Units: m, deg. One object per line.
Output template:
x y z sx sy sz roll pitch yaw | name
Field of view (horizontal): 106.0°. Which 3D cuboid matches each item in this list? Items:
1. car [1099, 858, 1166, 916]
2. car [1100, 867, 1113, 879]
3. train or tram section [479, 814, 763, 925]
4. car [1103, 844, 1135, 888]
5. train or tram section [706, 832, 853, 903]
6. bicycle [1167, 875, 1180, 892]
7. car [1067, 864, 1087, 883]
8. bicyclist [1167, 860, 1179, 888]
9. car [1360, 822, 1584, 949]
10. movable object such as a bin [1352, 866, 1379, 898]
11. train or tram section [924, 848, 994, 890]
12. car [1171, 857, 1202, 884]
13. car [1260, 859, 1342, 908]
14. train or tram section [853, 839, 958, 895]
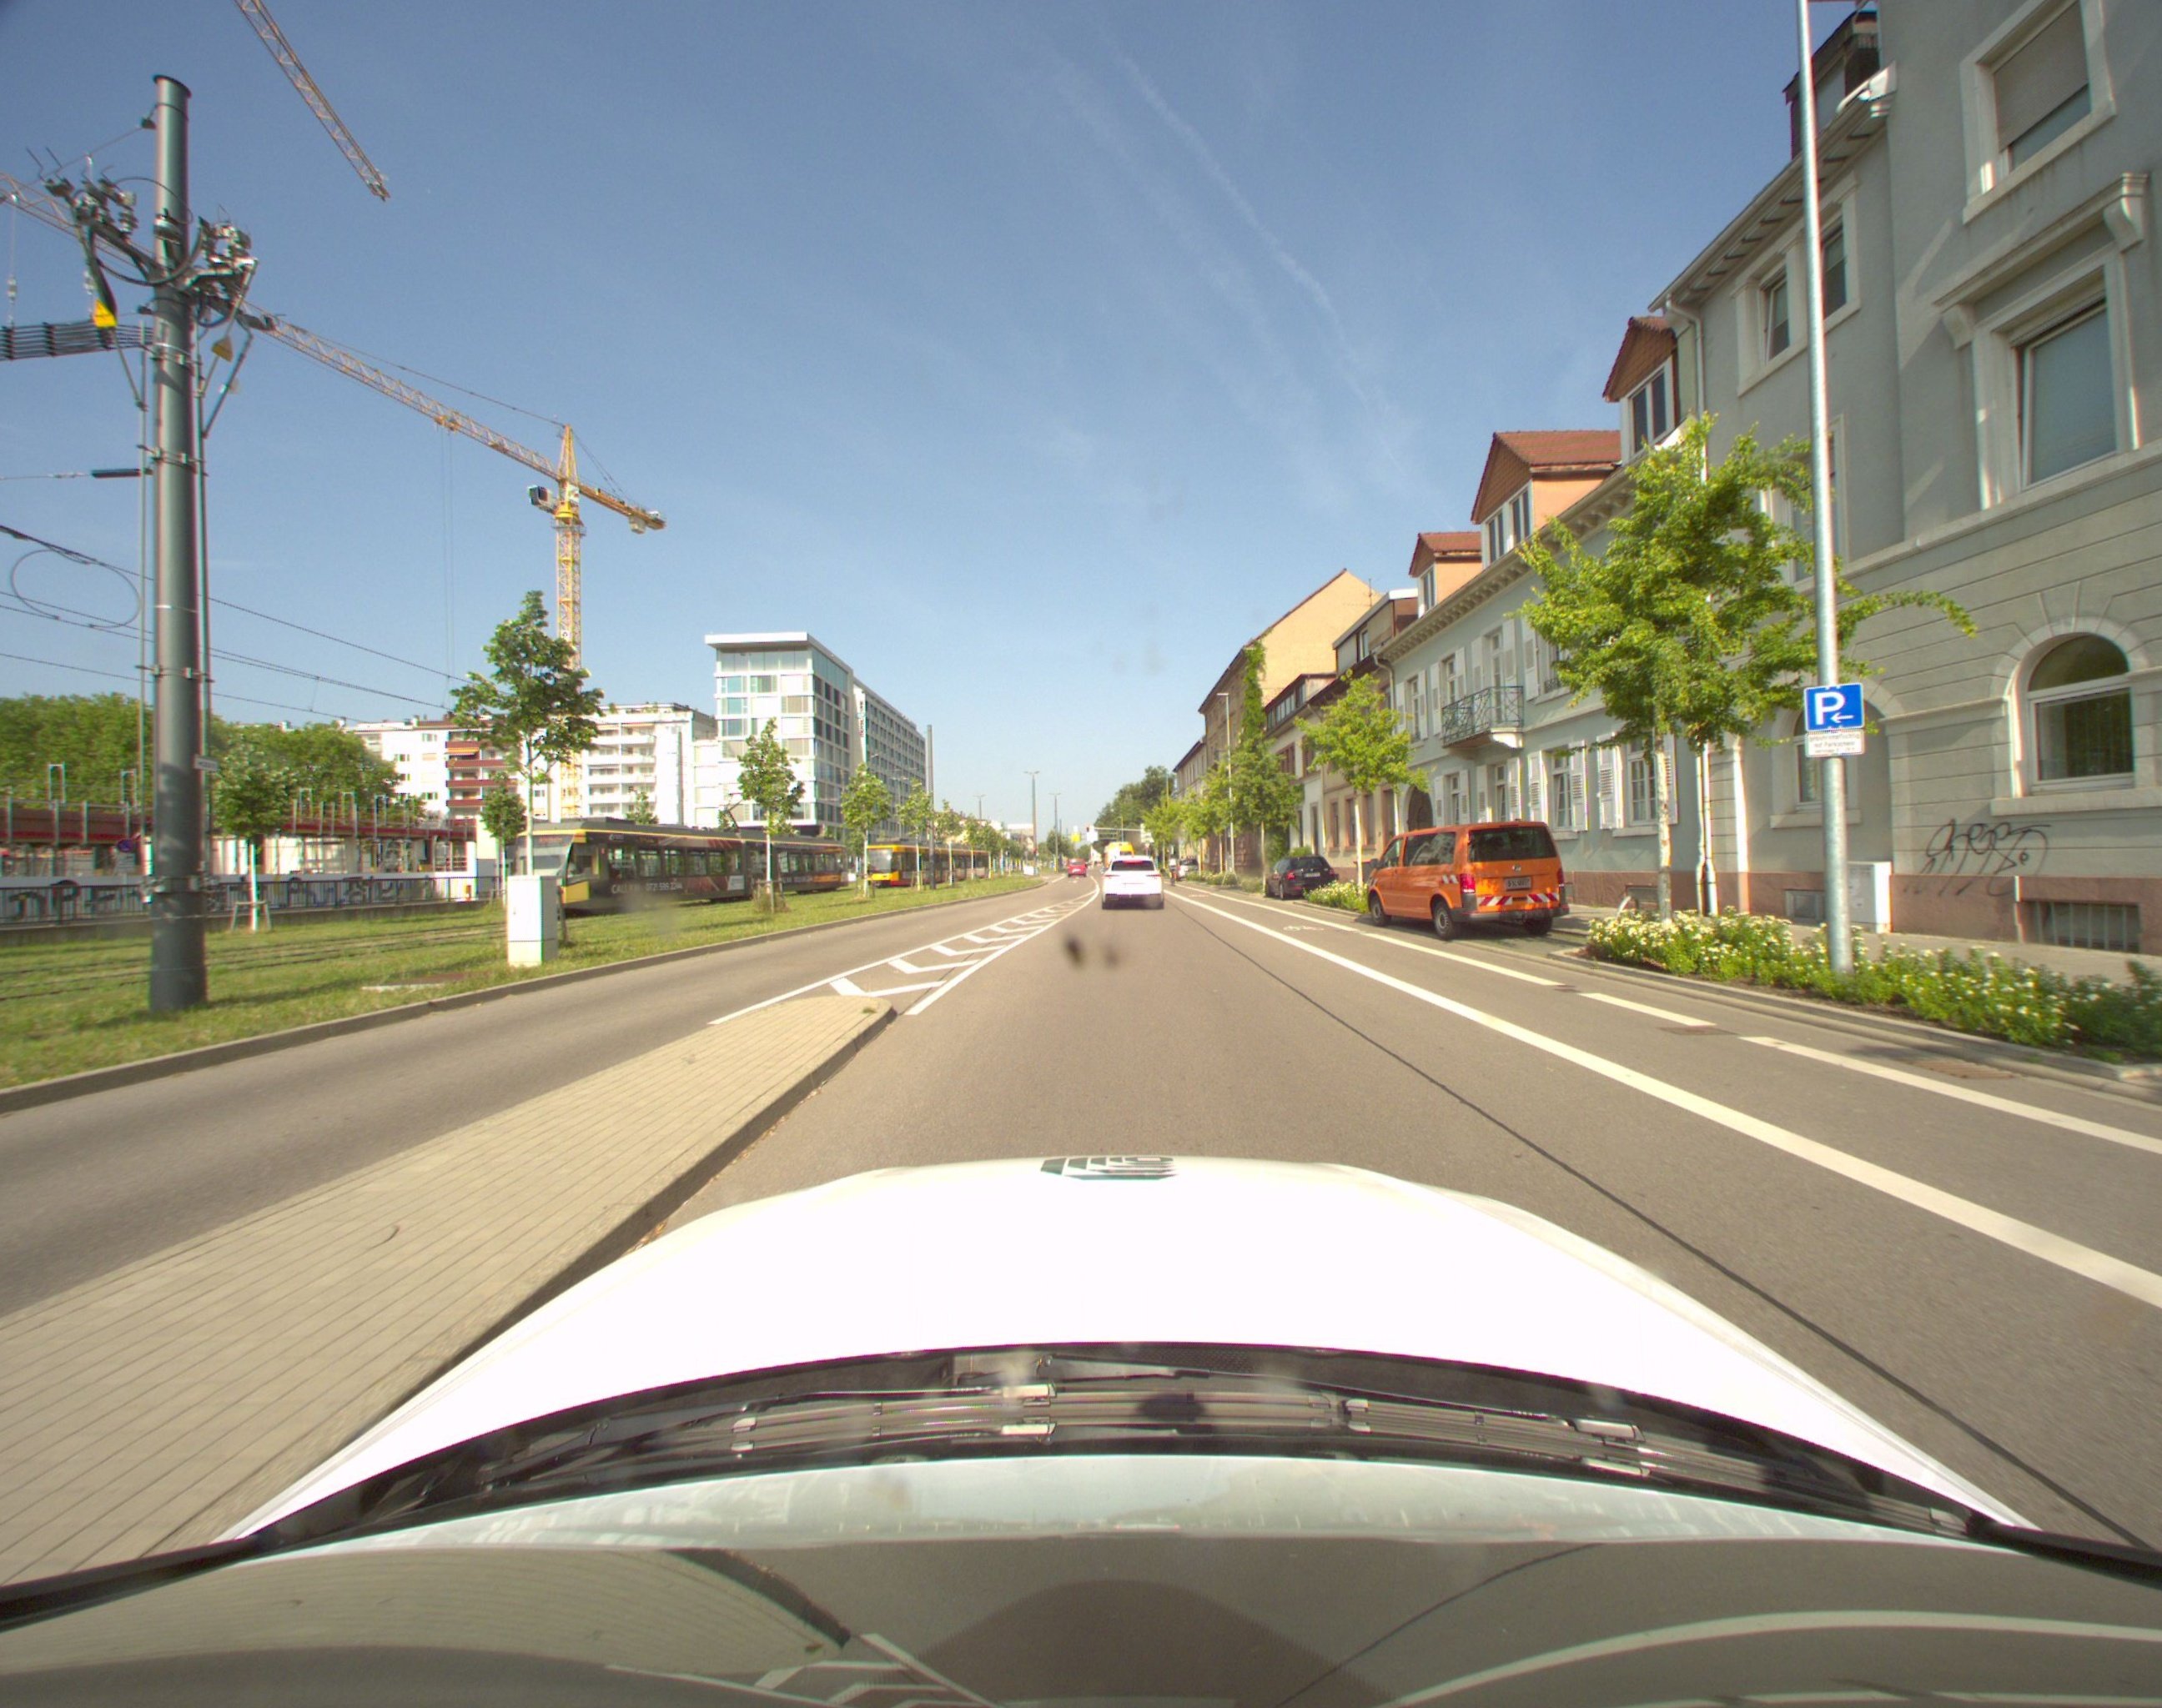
1.509 0.966 25.053 1.863 1.575 4.000 -1 -1 1 | car
4.032 2.981 127.142 1.923 1.821 4.001 -1 -1 2 | car
-17.697 0.608 33.613 2.850 3.537 14.902 -1 -1 2 | train or tram section
2.580 0.758 56.026 2.013 2.795 5.402 -1 1 1 | car
-17.108 0.804 47.896 2.869 3.537 13.619 -1 -1 3 | train or tram section
5.282 1.688 46.525 0.653 0.939 1.518 -1 -1 3 | bicycle
-0.365 1.999 83.821 1.923 1.821 4.001 -1 -1 2 | car
5.269 1.128 46.611 0.636 1.577 0.771 -1 -1 3 | bicyclist
7.107 0.527 15.462 2.056 2.014 4.588 -1 0 0 | car
10.774 1.059 30.902 0.738 1.200 0.773 -1 -1 0 | movable object such as a bin
-11.738 1.518 81.138 2.893 3.707 18.307 0 -1 4 | train or tram section
7.548 1.171 58.513 1.806 1.813 3.835 -1 -1 0 | car
7.552 0.999 28.358 1.668 1.483 4.312 -3 -1 0 | car
-13.017 1.093 62.959 2.893 3.676 18.153 0 -1 4 | train or tram section
